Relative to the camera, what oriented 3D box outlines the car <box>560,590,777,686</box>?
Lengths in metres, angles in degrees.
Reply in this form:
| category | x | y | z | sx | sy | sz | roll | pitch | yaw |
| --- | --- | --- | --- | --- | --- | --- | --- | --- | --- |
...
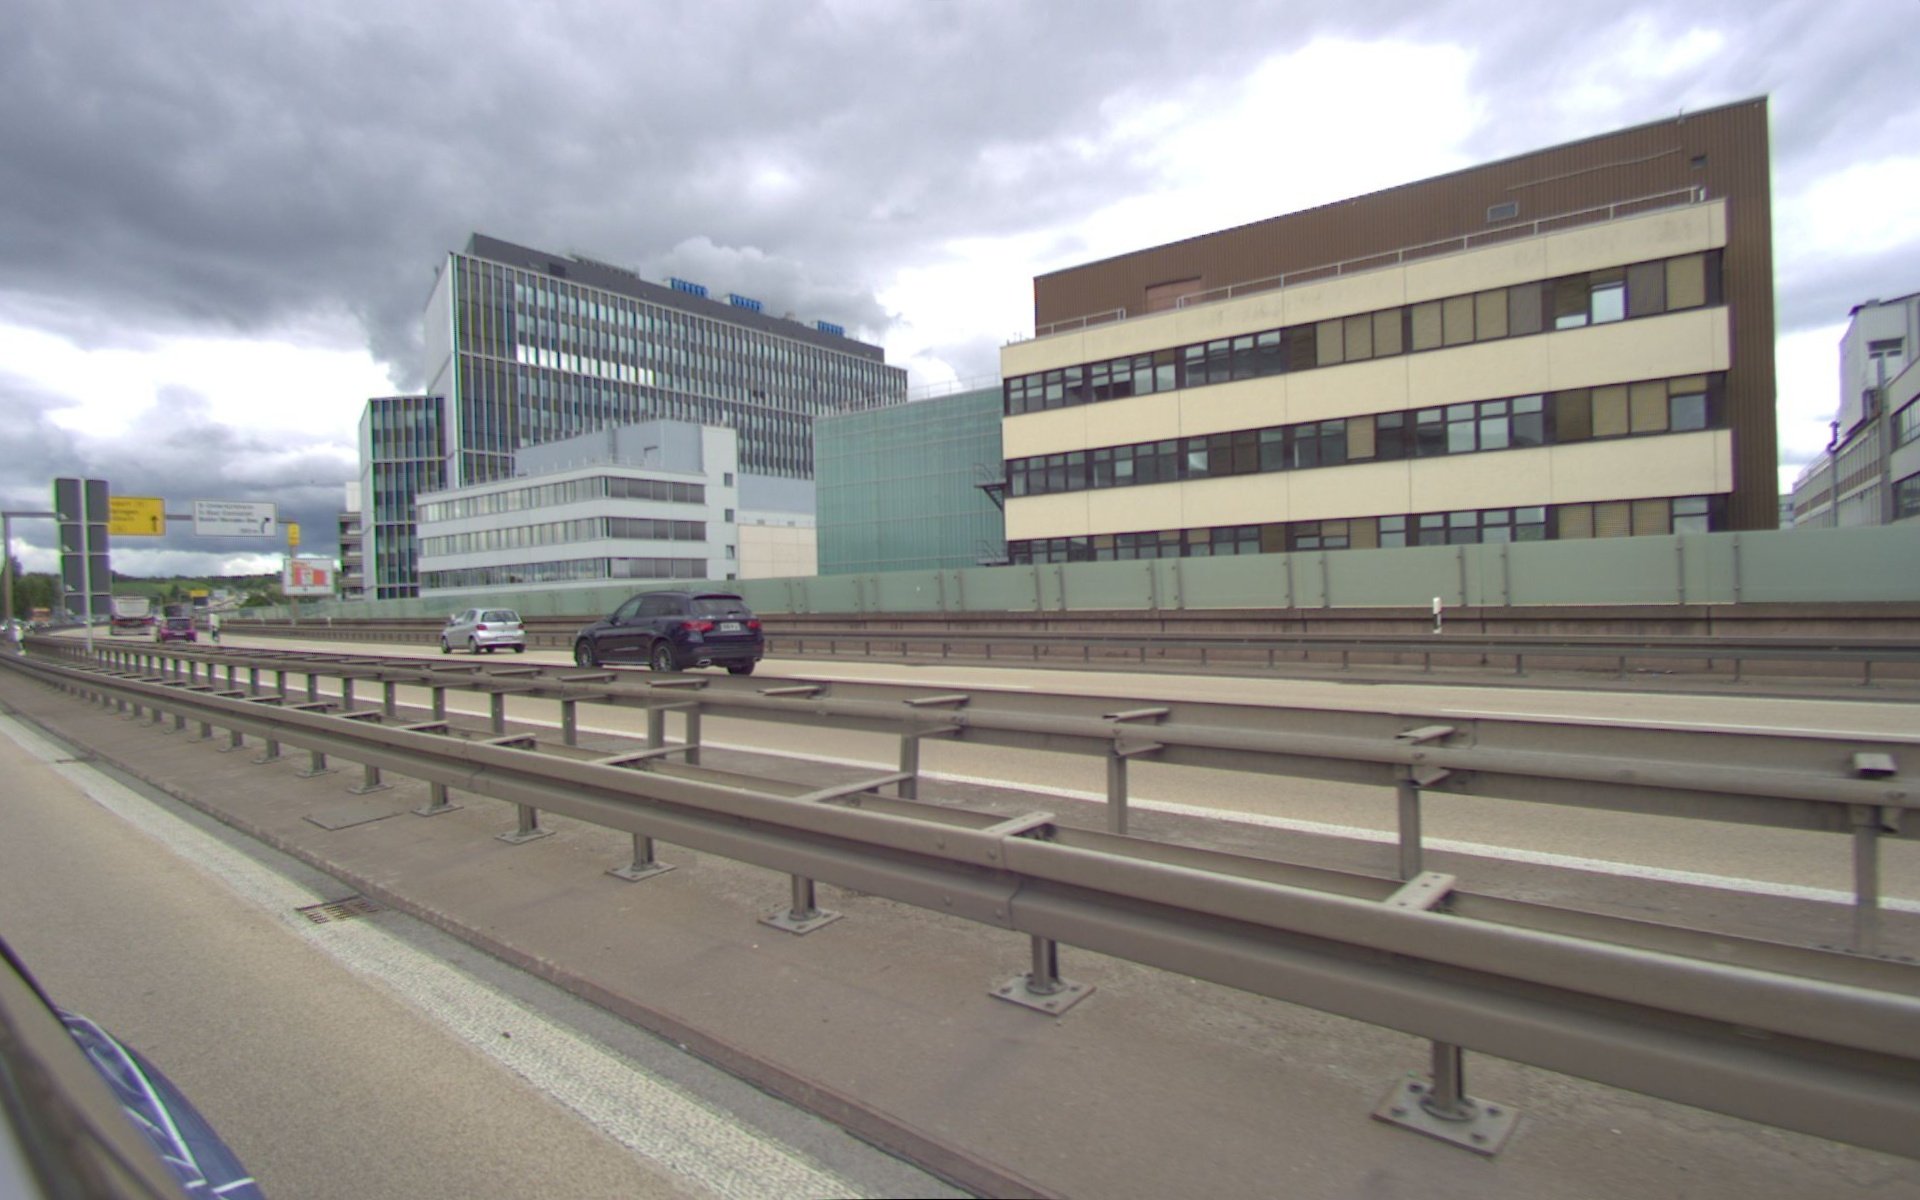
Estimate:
| category | x | y | z | sx | sy | sz | roll | pitch | yaw |
| --- | --- | --- | --- | --- | --- | --- | --- | --- | --- |
| car | -5.704 | 0.706 | 19.440 | 4.812 | 1.631 | 1.736 | -2 | -1 | 42 |

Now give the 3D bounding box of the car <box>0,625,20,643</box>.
| category | x | y | z | sx | sy | sz | roll | pitch | yaw |
| --- | --- | --- | --- | --- | --- | --- | --- | --- | --- |
| car | -112.999 | 3.978 | 120.059 | 1.968 | 2.029 | 4.007 | -1 | 0 | -40 |

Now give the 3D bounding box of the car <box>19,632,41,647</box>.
| category | x | y | z | sx | sy | sz | roll | pitch | yaw |
| --- | --- | --- | --- | --- | --- | --- | --- | --- | --- |
| car | -130.657 | 5.549 | 142.160 | 1.968 | 2.029 | 4.007 | -1 | 0 | -39 |

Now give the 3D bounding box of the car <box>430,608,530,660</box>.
| category | x | y | z | sx | sy | sz | roll | pitch | yaw |
| --- | --- | --- | --- | --- | --- | --- | --- | --- | --- |
| car | -15.841 | 1.114 | 33.336 | 3.684 | 1.609 | 1.665 | -2 | -1 | 42 |

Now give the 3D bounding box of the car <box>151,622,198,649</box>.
| category | x | y | z | sx | sy | sz | roll | pitch | yaw |
| --- | --- | --- | --- | --- | --- | --- | --- | --- | --- |
| car | -44.981 | 2.024 | 57.951 | 1.734 | 1.494 | 4.094 | 0 | -1 | -44 |

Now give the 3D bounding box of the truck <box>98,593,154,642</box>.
| category | x | y | z | sx | sy | sz | roll | pitch | yaw |
| --- | --- | --- | --- | --- | --- | --- | --- | --- | --- |
| truck | -72.245 | 1.569 | 87.573 | 3.222 | 3.888 | 13.069 | -2 | 0 | -41 |
